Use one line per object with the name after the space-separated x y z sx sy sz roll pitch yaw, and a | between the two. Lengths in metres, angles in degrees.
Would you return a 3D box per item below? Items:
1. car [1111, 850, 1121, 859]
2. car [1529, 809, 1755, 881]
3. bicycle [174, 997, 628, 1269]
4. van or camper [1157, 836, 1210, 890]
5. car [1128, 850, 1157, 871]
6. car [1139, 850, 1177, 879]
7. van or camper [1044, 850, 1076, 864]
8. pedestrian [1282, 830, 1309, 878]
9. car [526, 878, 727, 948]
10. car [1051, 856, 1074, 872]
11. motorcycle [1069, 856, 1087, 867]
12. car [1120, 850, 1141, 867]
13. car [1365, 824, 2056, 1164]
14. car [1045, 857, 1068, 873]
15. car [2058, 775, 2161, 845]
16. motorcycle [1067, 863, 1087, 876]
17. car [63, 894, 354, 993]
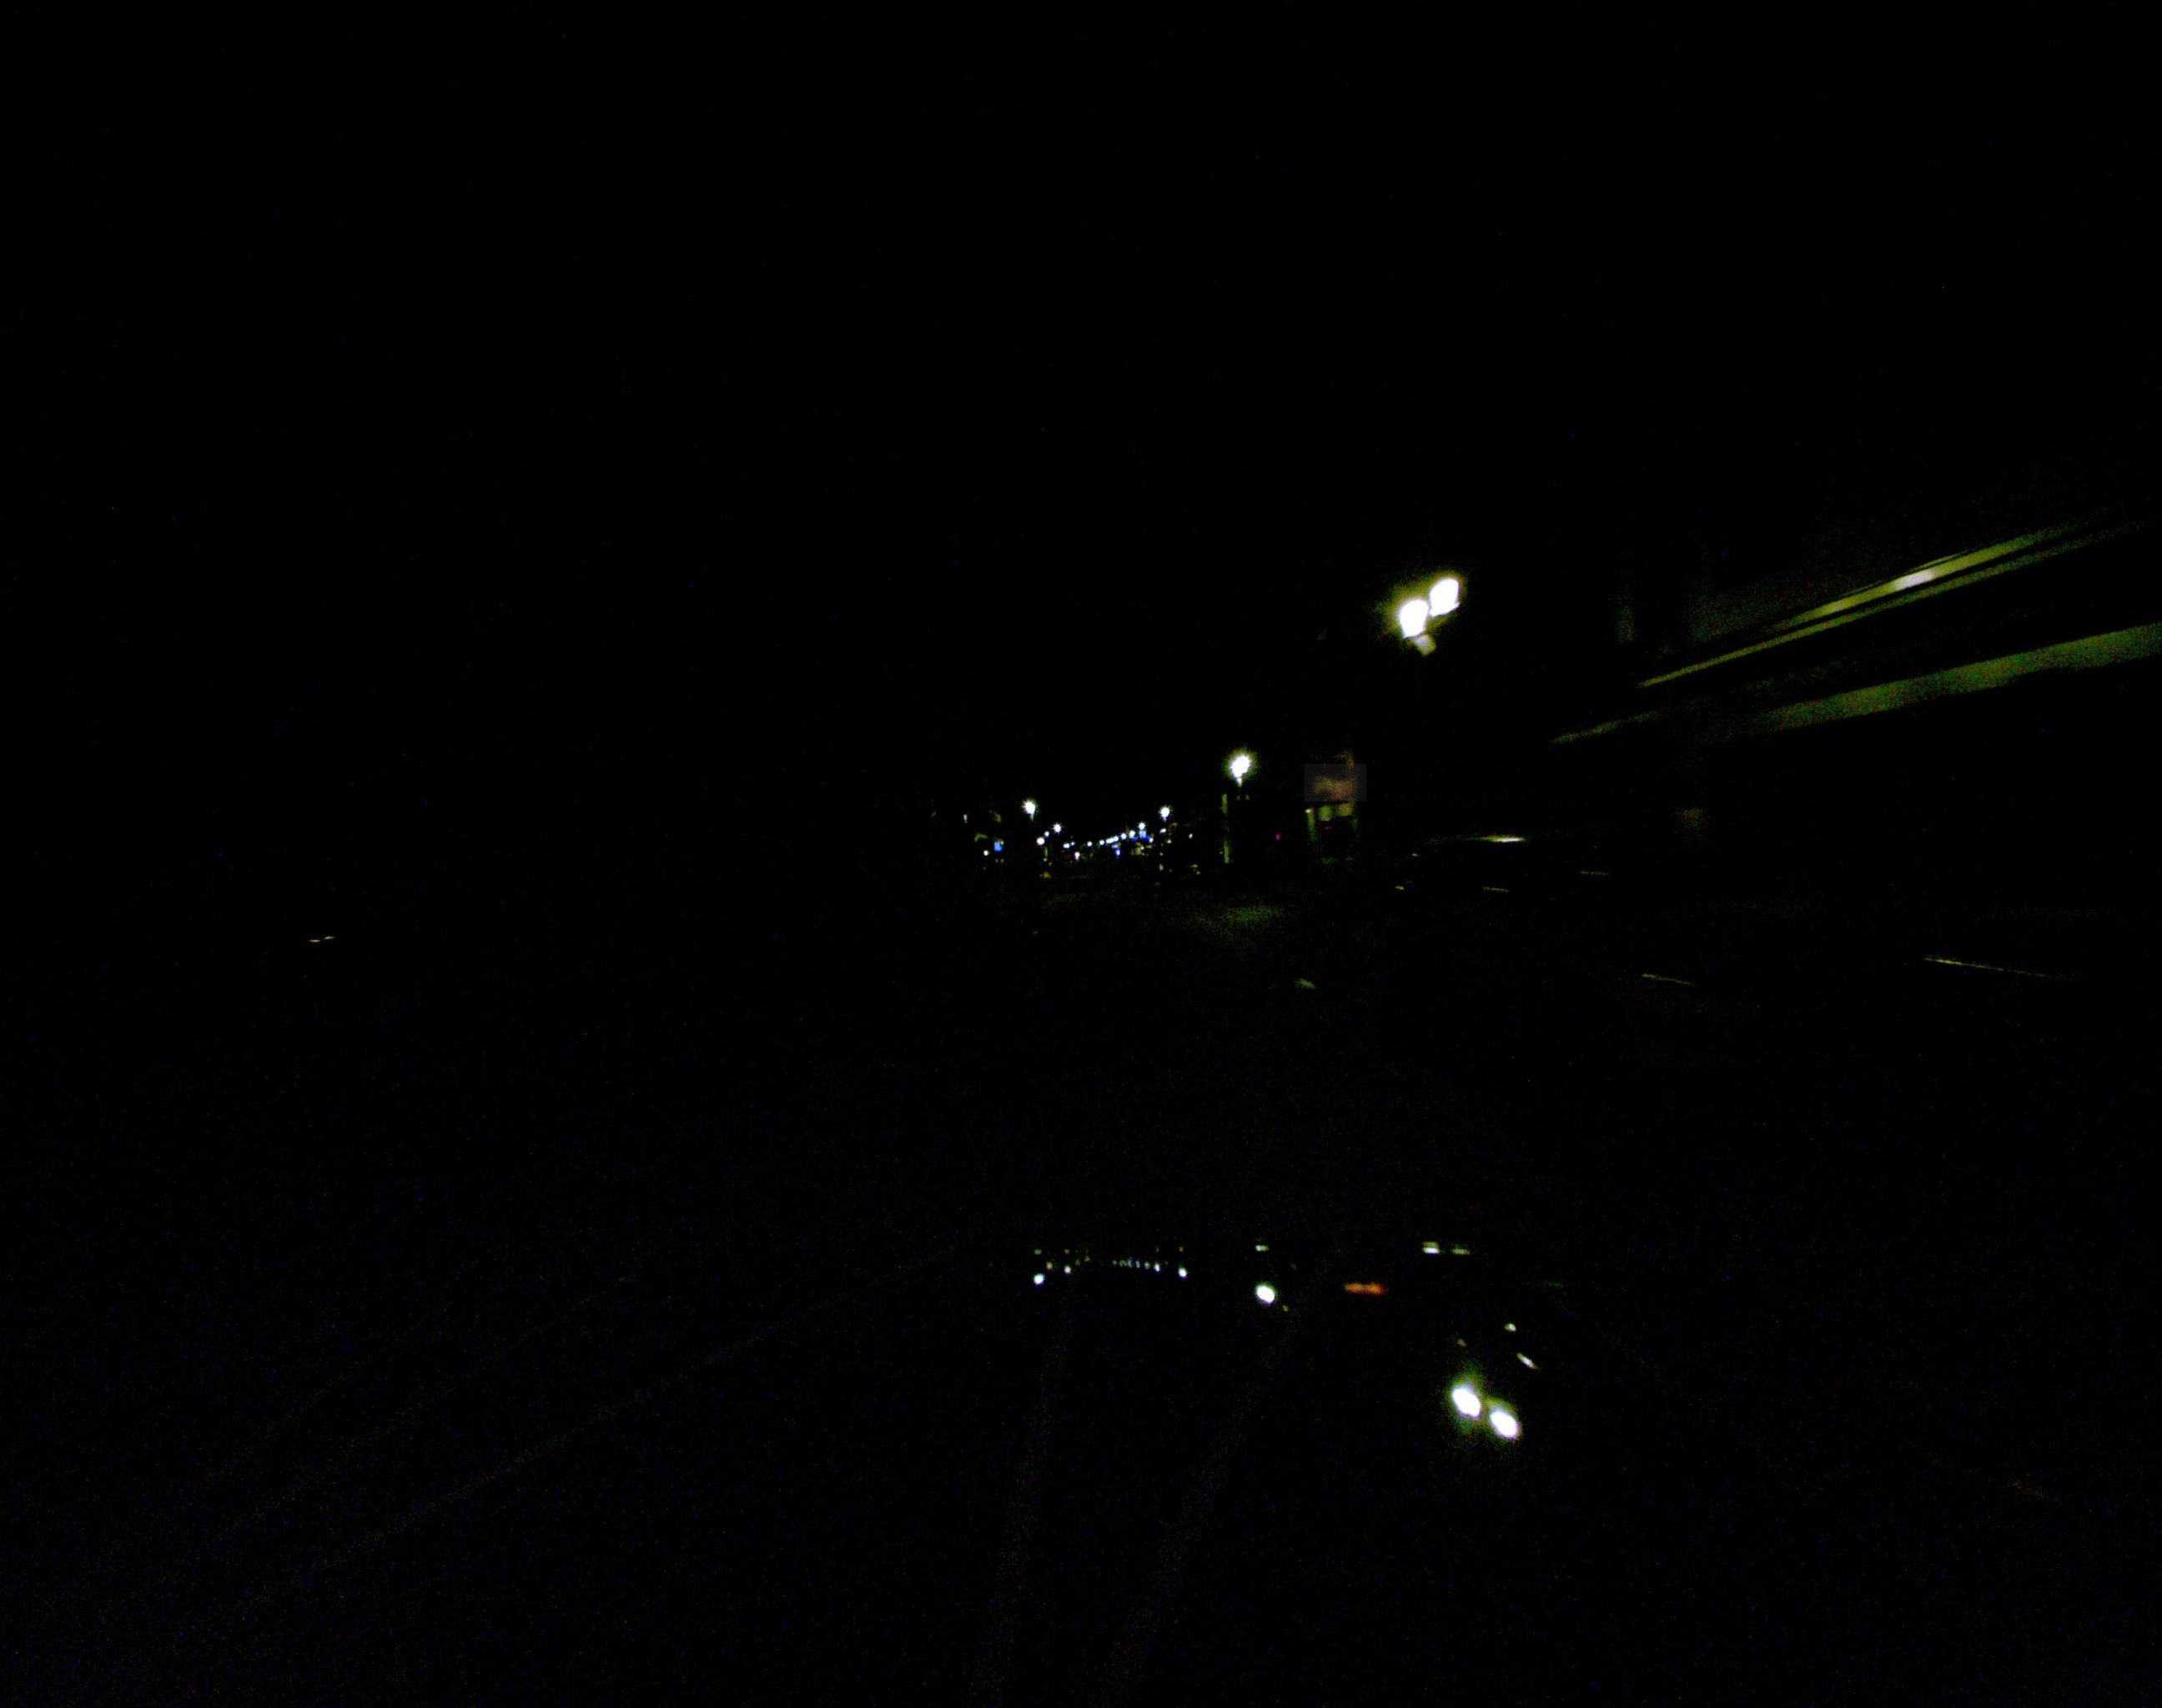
6.736 0.074 145.708 1.655 1.417 4.014 -6 0 0 | car
14.578 -0.199 19.934 4.452 1.392 1.781 -5 -2 1 | car
-3.191 1.299 3.631 1.759 1.056 0.346 -3 0 -1 | bicycle
4.244 0.319 31.859 1.849 1.930 5.155 -5 0 7 | van or camper
4.656 0.469 57.944 1.802 1.469 4.321 -4 0 0 | car
4.351 0.571 43.486 1.721 1.404 4.385 -5 0 2 | car
-4.246 0.564 153.645 6.060 2.518 2.158 -4 0 -30 | van or camper
8.122 -0.001 28.787 0.622 1.735 1.023 -4 1 1 | pedestrian
-12.288 1.561 20.712 4.316 1.629 1.901 -3 -2 2 | car
-1.816 0.946 76.338 1.757 1.455 4.467 -2 0 4 | car
-0.380 0.916 93.157 2.165 1.290 0.516 -3 1 31 | motorcycle
4.955 0.422 76.037 1.849 1.455 4.623 -5 0 2 | car
3.698 0.666 5.511 1.733 1.468 3.847 -5 0 0 | car
-2.289 1.036 71.512 1.664 1.369 4.104 -2 0 4 | car
28.798 -1.231 19.780 3.997 1.637 2.001 -4 -2 0 | car
-0.458 1.869 90.424 2.266 1.383 0.662 -3 1 26 | motorcycle
-17.331 1.743 15.229 3.861 1.579 1.662 -3 1 1 | car
